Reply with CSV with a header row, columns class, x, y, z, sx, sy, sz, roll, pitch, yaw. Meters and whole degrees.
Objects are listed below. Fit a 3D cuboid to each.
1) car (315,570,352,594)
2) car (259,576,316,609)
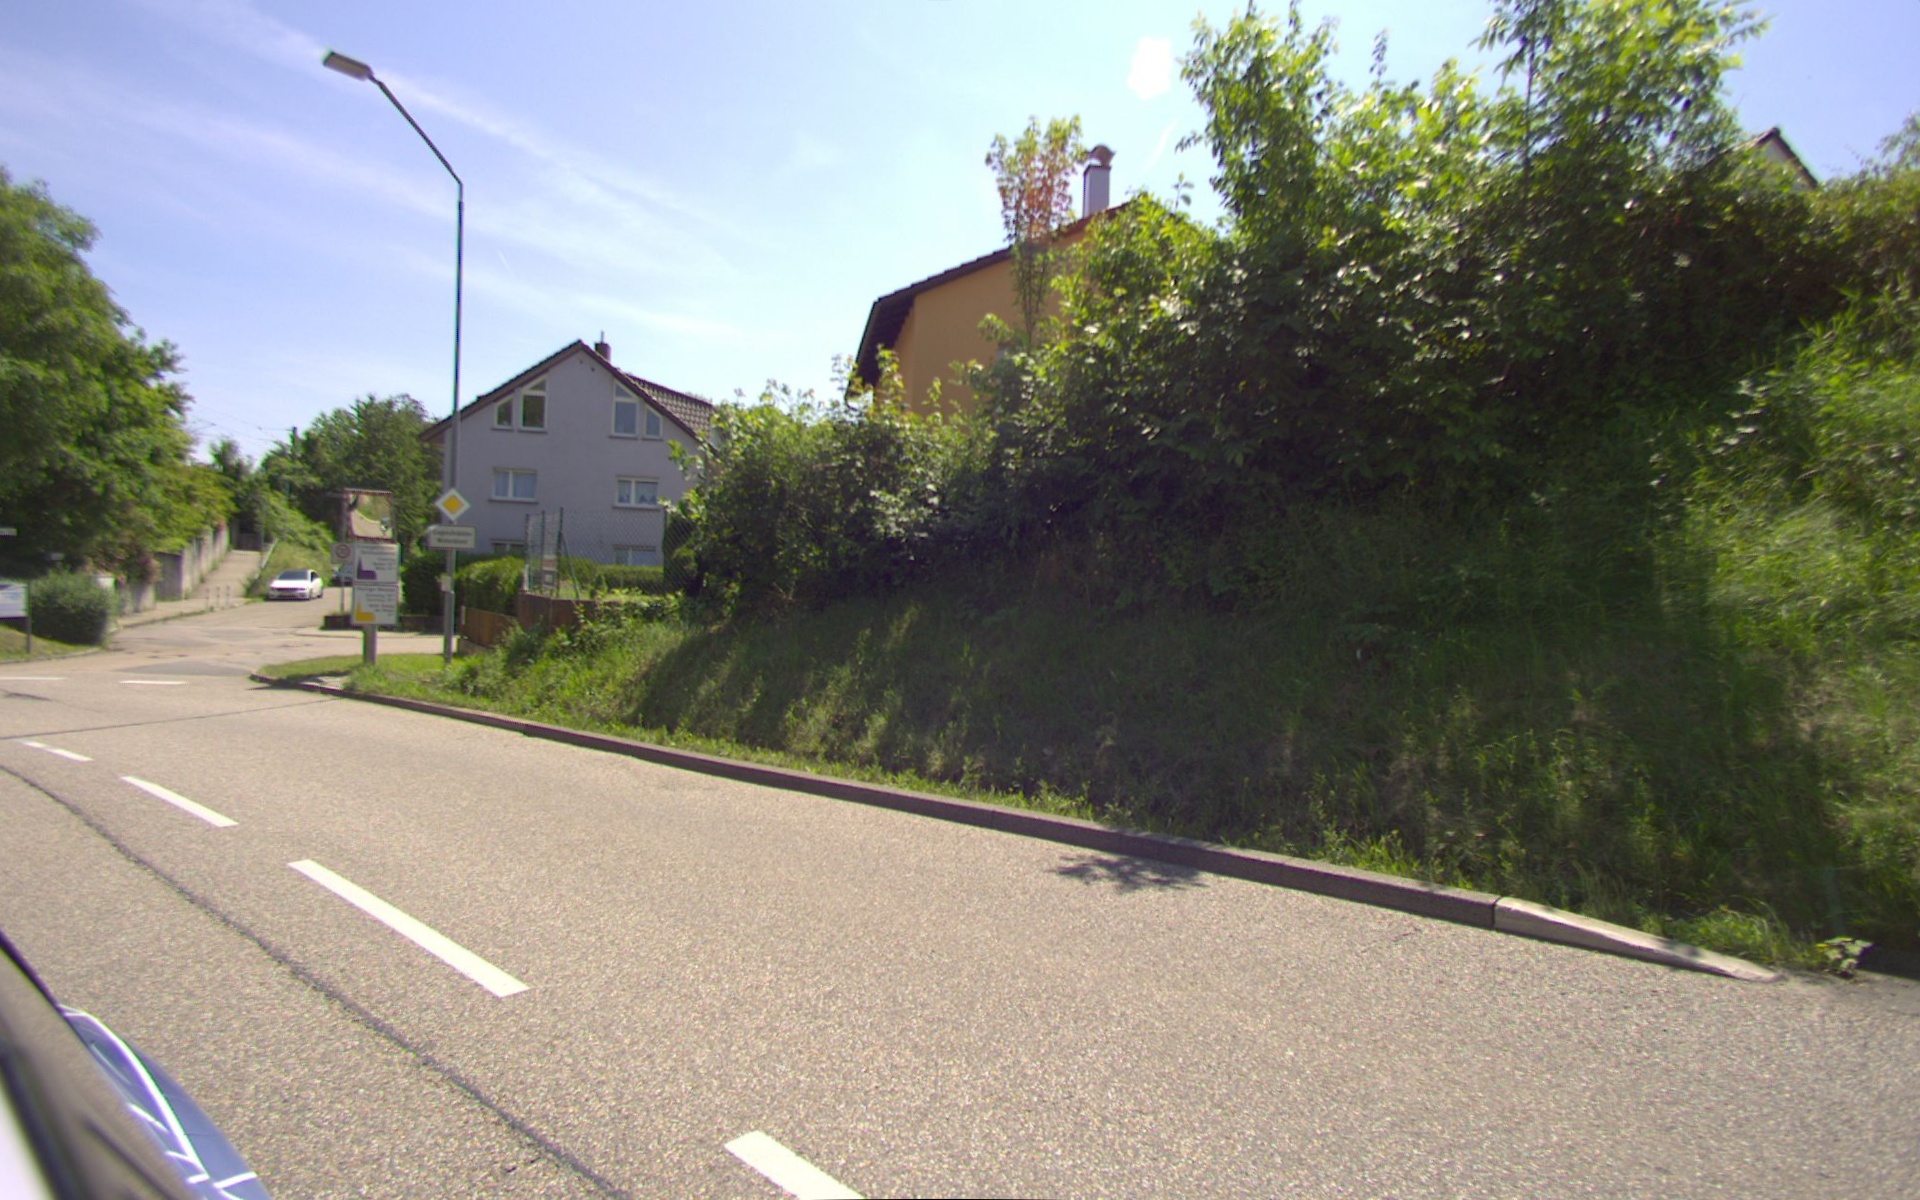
class,x,y,z,sx,sy,sz,roll,pitch,yaw
car,-41.624,-1.204,67.329,1.720,1.399,4.014,0,4,-26
car,-34.781,-0.427,52.423,1.965,1.518,4.014,0,3,-27
